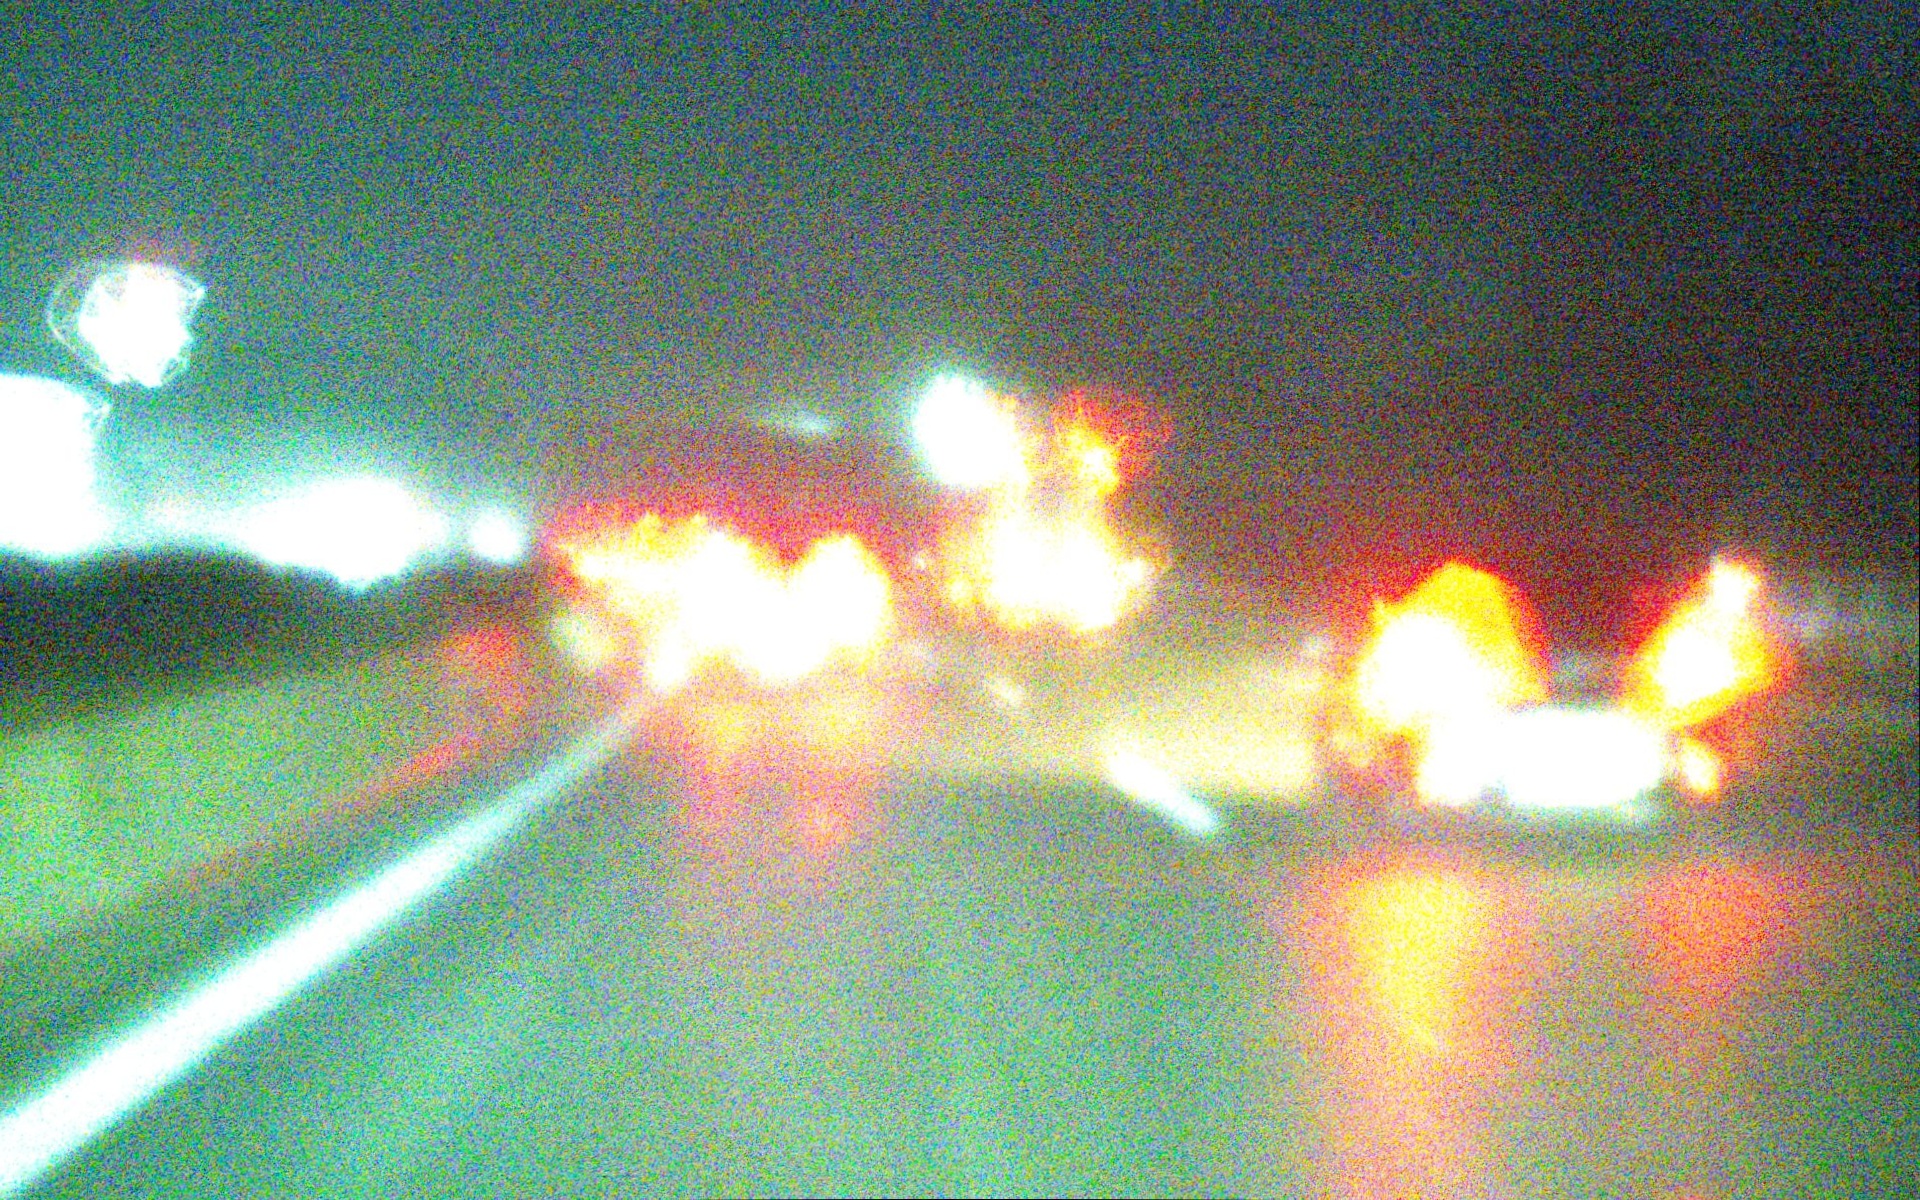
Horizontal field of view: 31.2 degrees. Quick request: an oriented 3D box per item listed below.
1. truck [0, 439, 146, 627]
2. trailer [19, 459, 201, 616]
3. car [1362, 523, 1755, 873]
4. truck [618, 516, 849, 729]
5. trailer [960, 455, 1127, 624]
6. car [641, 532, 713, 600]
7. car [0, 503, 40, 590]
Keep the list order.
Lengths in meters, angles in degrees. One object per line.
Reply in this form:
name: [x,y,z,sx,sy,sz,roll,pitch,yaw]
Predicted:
truck: [-21.723,-1.702,81.018,2.947,4.023,10.655,4,2,-4]
trailer: [-22.441,-1.741,91.275,2.927,3.736,9.503,4,2,-5]
car: [3.086,0.419,18.286,1.801,1.612,4.255,1,1,8]
truck: [-2.521,0.155,39.889,2.145,2.070,6.604,5,2,-1]
trailer: [2.128,-1.800,94.042,2.738,4.233,13.375,-2,2,-6]
car: [-8.813,-1.045,106.791,1.993,2.007,4.001,-1,0,-8]
car: [-20.257,-1.148,70.101,1.993,1.679,4.001,5,2,-3]
